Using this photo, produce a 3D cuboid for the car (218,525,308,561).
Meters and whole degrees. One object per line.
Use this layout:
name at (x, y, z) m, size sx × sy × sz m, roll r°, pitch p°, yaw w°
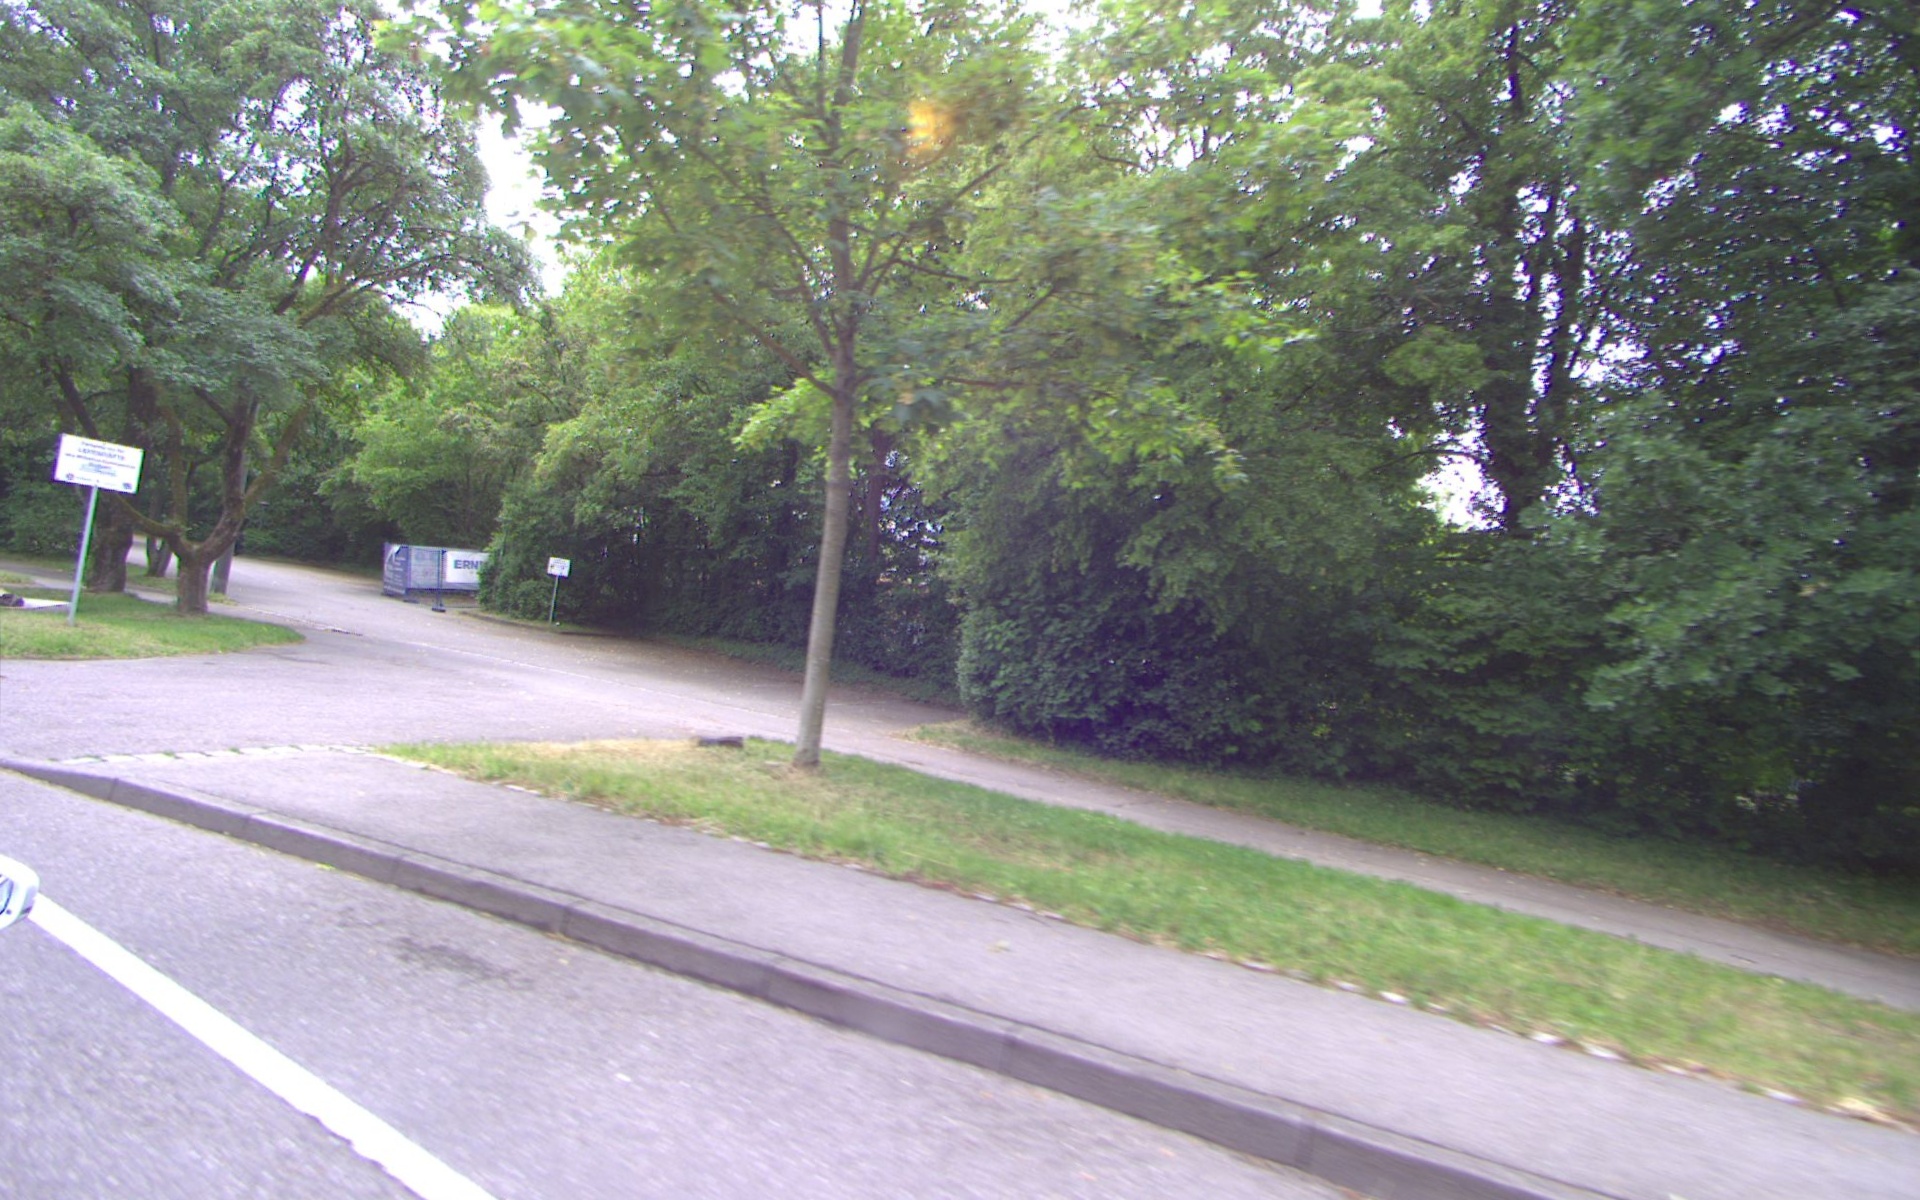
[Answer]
car at (-41.915, -3.420, 60.601) m, size 1.770 × 1.425 × 3.997 m, roll 7°, pitch -2°, yaw 30°
